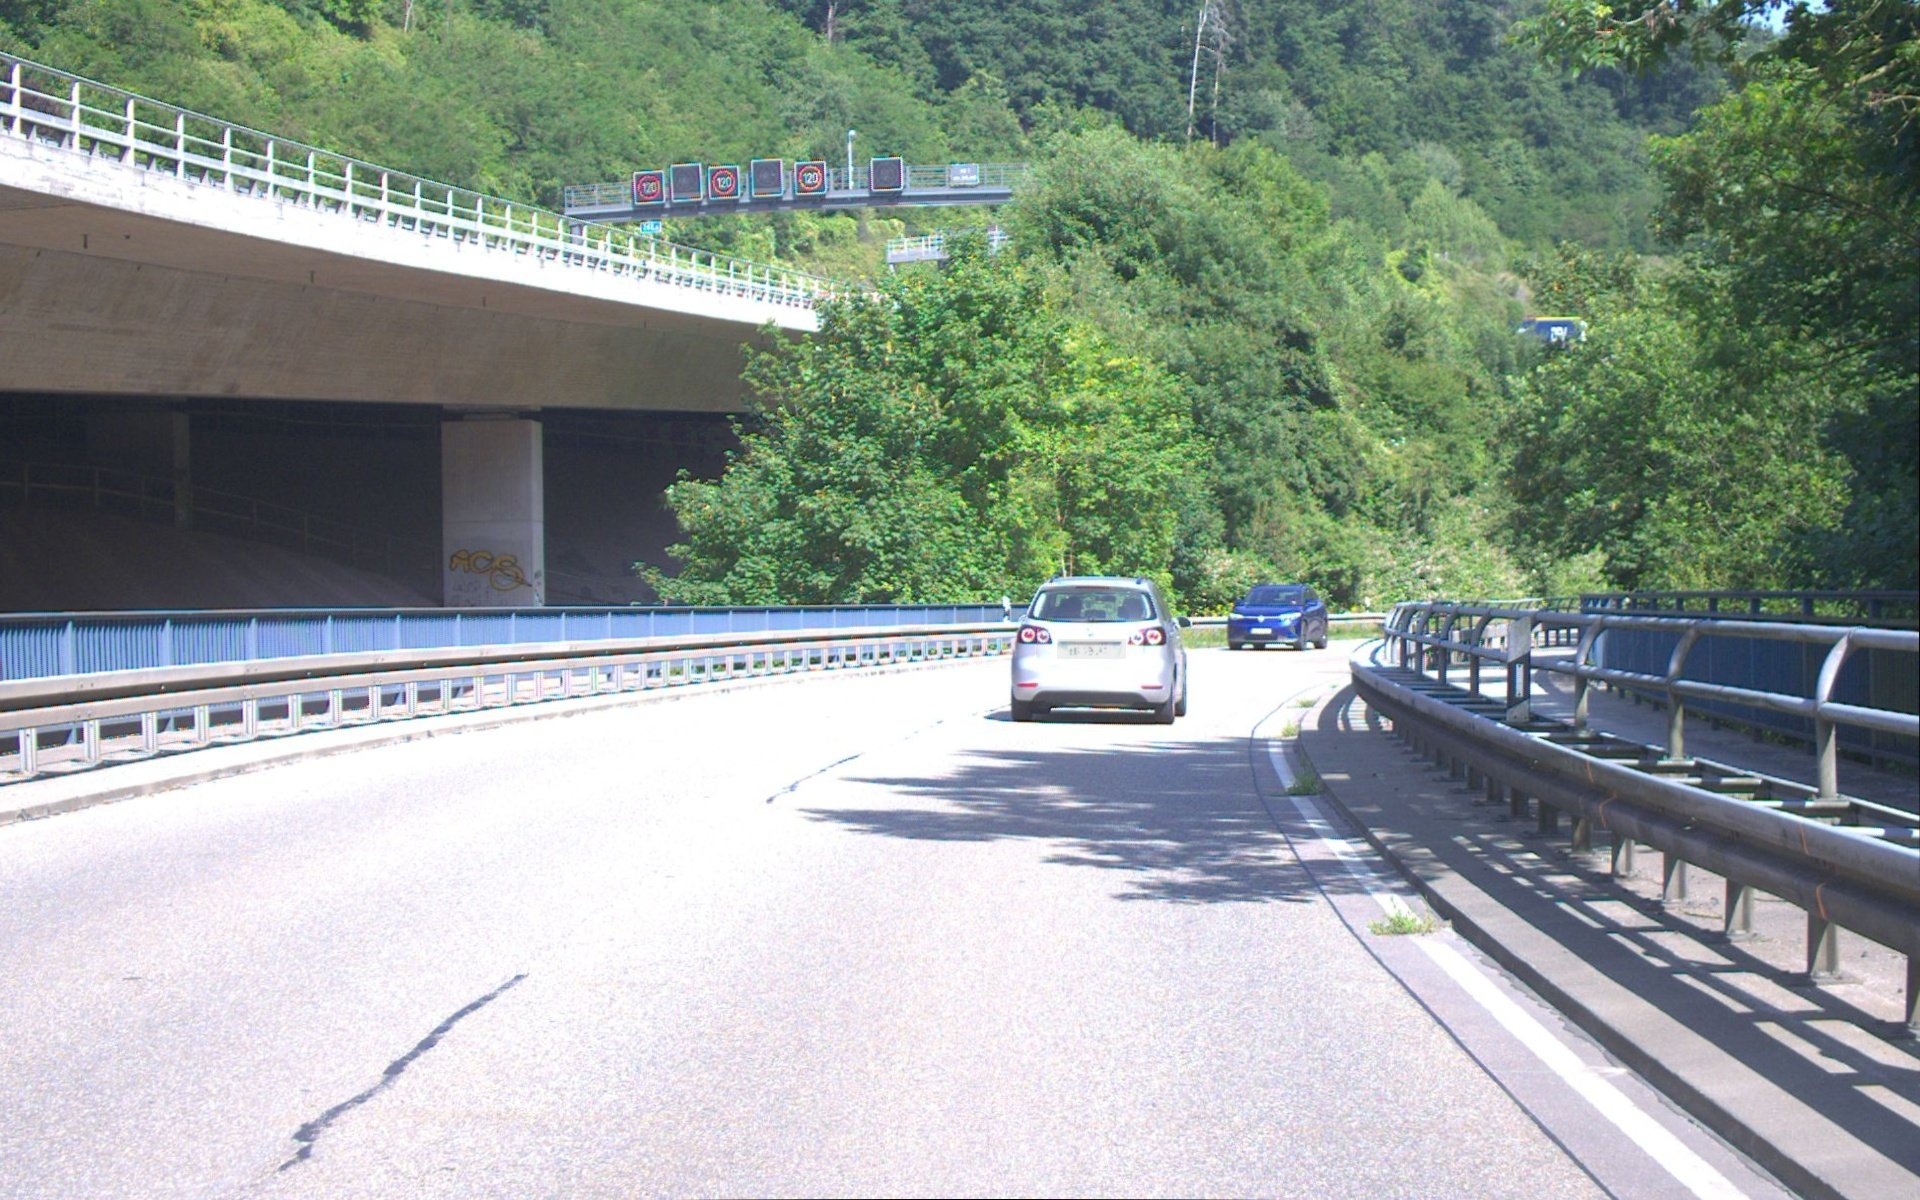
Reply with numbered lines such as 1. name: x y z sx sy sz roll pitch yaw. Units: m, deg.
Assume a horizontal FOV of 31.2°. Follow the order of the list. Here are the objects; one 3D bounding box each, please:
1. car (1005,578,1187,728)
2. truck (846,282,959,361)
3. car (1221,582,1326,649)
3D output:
1. car: 1.546 0.559 37.644 1.751 1.515 4.158 1 0 5
2. truck: -2.777 -13.679 169.426 3.372 3.343 10.172 2 2 12
3. car: 7.775 0.373 84.979 1.899 1.575 4.552 1 0 14
